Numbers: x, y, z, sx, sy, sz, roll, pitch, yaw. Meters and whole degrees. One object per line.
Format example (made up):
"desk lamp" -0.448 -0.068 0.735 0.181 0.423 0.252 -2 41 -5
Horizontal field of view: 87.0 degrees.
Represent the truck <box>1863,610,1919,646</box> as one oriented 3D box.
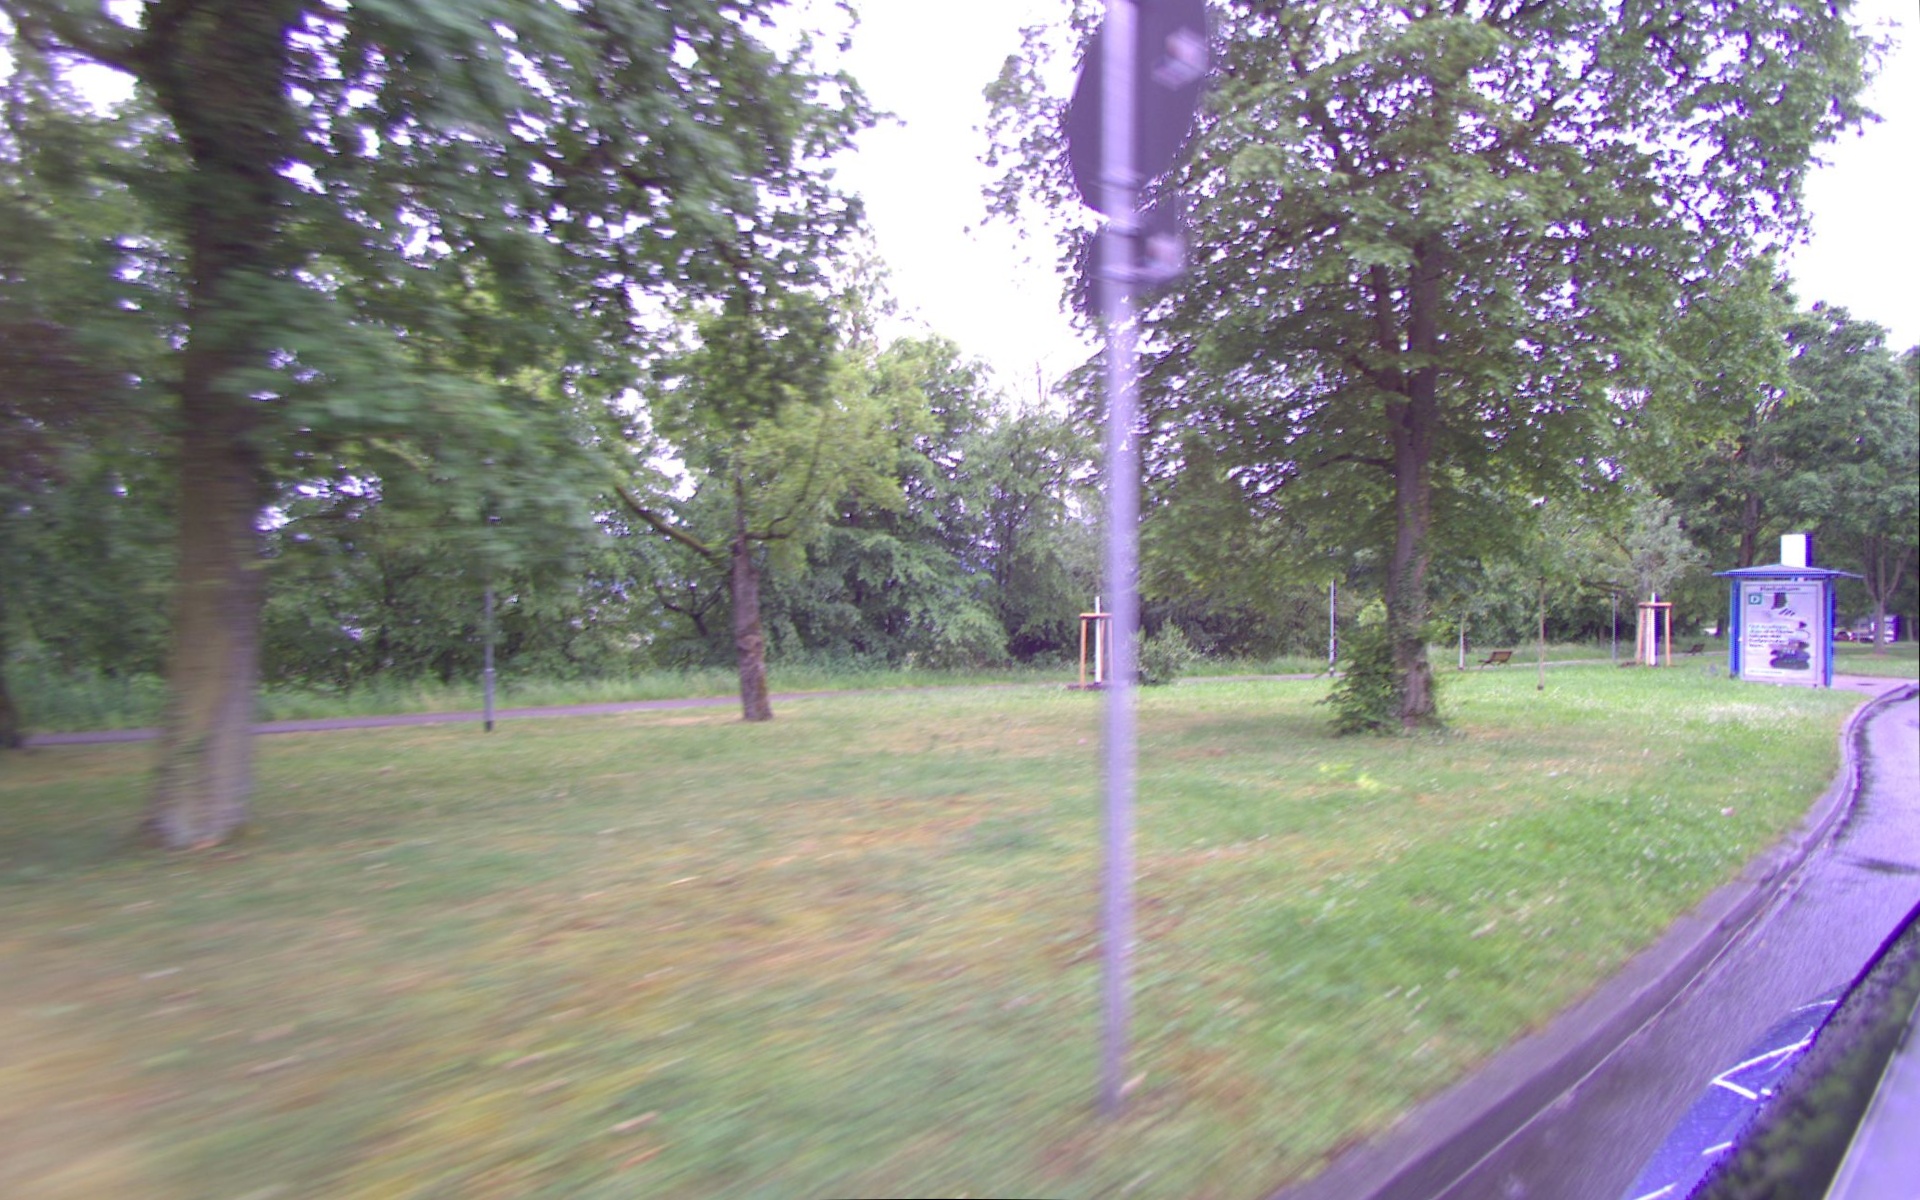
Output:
"truck" 83.546 2.501 90.939 2.124 3.085 5.123 0 -1 24
